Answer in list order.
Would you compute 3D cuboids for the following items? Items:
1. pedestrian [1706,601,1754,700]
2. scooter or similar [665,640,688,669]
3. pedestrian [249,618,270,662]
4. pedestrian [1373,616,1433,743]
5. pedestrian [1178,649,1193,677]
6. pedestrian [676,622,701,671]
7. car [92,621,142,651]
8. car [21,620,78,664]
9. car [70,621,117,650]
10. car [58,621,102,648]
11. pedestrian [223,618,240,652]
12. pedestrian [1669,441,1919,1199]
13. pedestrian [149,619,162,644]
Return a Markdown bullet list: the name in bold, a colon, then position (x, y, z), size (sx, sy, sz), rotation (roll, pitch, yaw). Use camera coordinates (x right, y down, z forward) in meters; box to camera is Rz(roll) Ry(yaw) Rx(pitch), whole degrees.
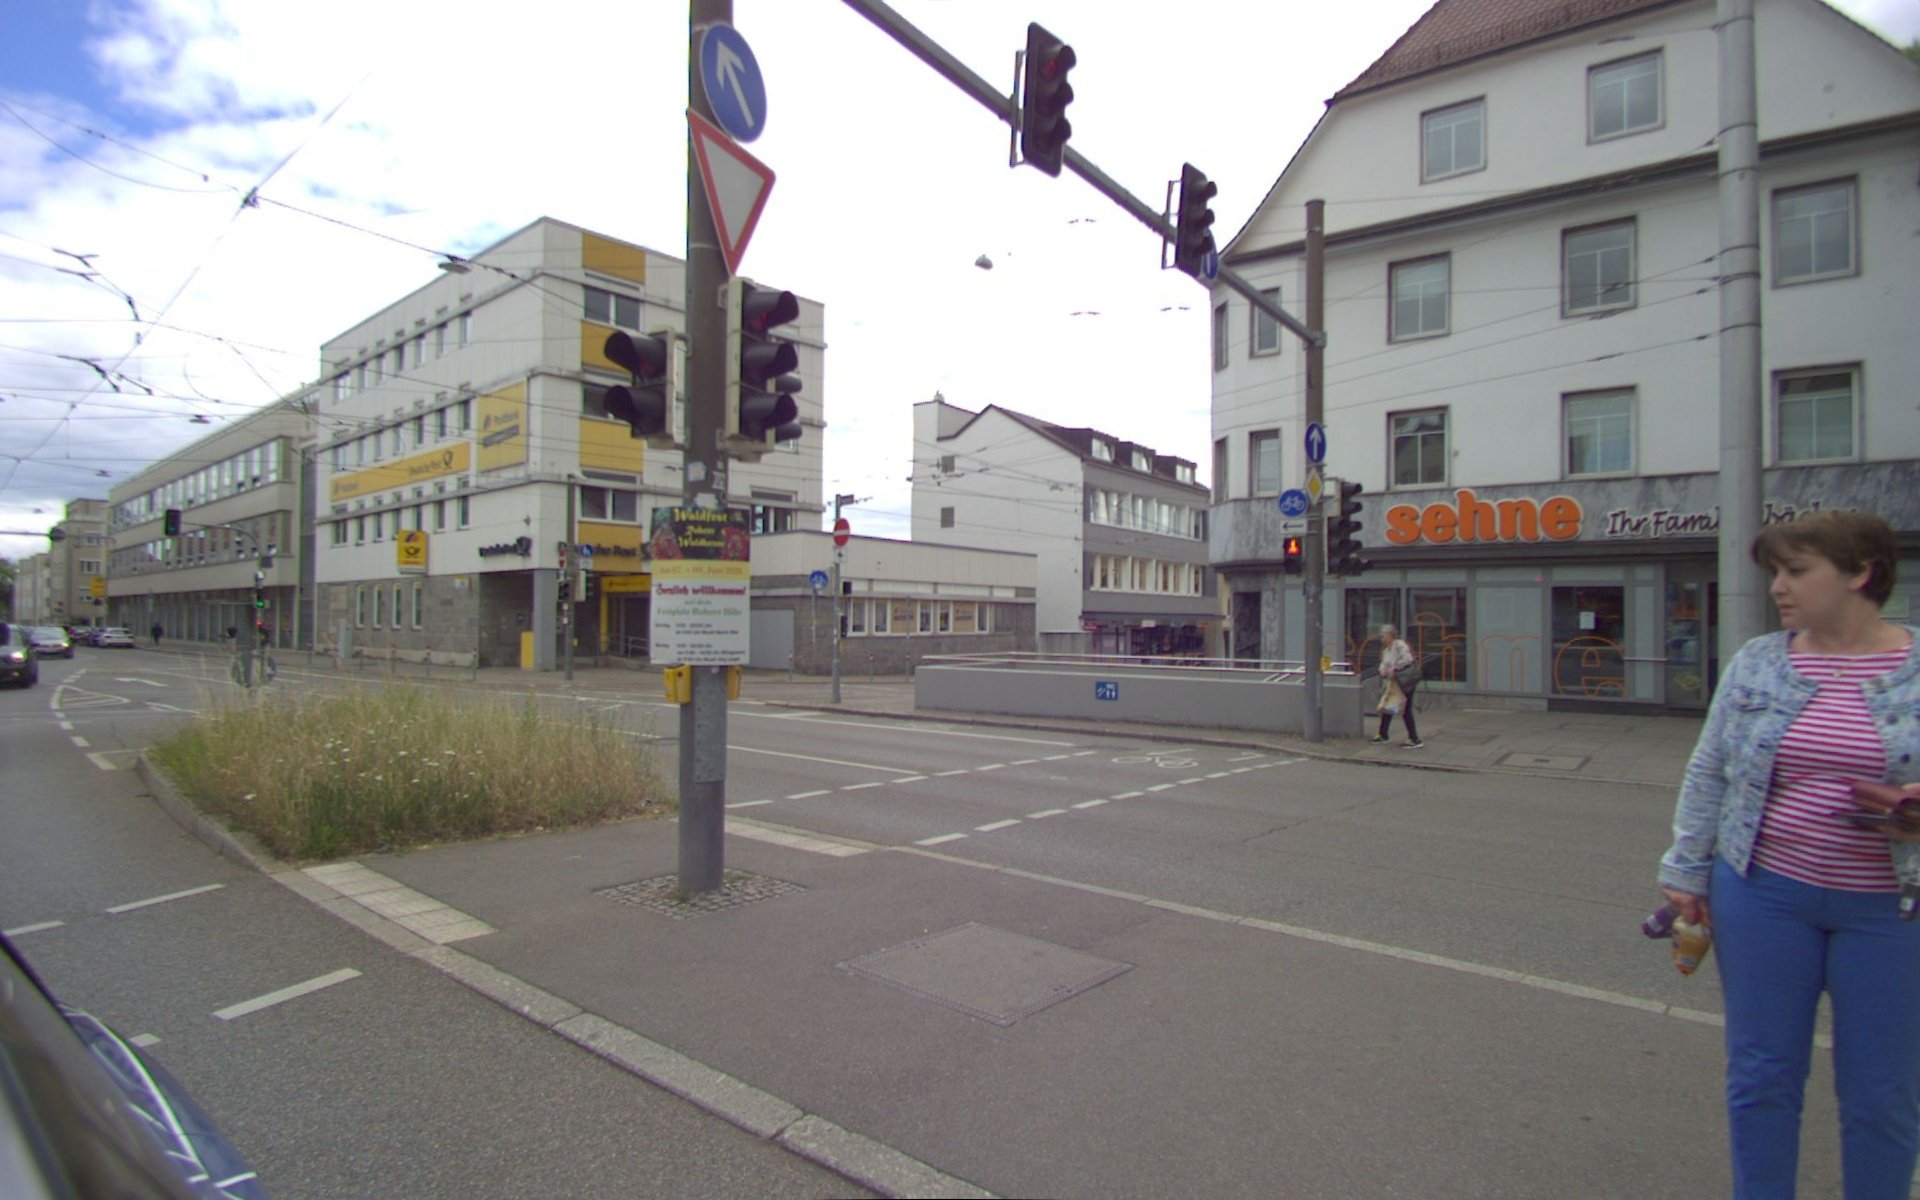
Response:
- **pedestrian**: position (13.271, 0.858, 17.437), size (0.587, 1.646, 0.607), rotation (-2, 1, 40)
- **scooter or similar**: position (-9.827, 1.888, 35.111), size (0.617, 0.984, 0.502), rotation (-1, -2, 40)
- **pedestrian**: position (-29.800, 1.689, 43.036), size (0.526, 1.816, 0.580), rotation (-2, 1, 42)
- **pedestrian**: position (6.027, 1.058, 13.753), size (0.613, 1.646, 0.694), rotation (-2, 1, 31)
- **pedestrian**: position (13.529, 3.775, 60.754), size (0.614, 1.646, 0.687), rotation (-2, 1, 36)
- **pedestrian**: position (-9.322, 1.579, 34.739), size (0.615, 1.647, 0.580), rotation (-2, -2, 42)
- **car**: position (-59.386, 2.497, 71.270), size (4.483, 2.029, 1.973), rotation (-1, -1, 40)
- **car**: position (-44.132, 1.986, 49.019), size (1.970, 2.029, 4.491), rotation (0, -1, -43)
- **car**: position (-64.289, 2.596, 75.068), size (4.483, 2.029, 1.973), rotation (-1, -1, 40)
- **car**: position (-68.652, 2.694, 78.949), size (4.483, 2.029, 1.973), rotation (-1, -1, 40)
- **pedestrian**: position (-39.734, 1.924, 55.170), size (0.526, 1.816, 0.580), rotation (-2, 1, 42)
- **pedestrian**: position (1.825, 0.546, 1.999), size (0.662, 1.647, 0.498), rotation (-1, -2, 36)
- **pedestrian**: position (-59.583, 2.311, 74.940), size (0.526, 1.816, 0.580), rotation (-2, 1, 42)
